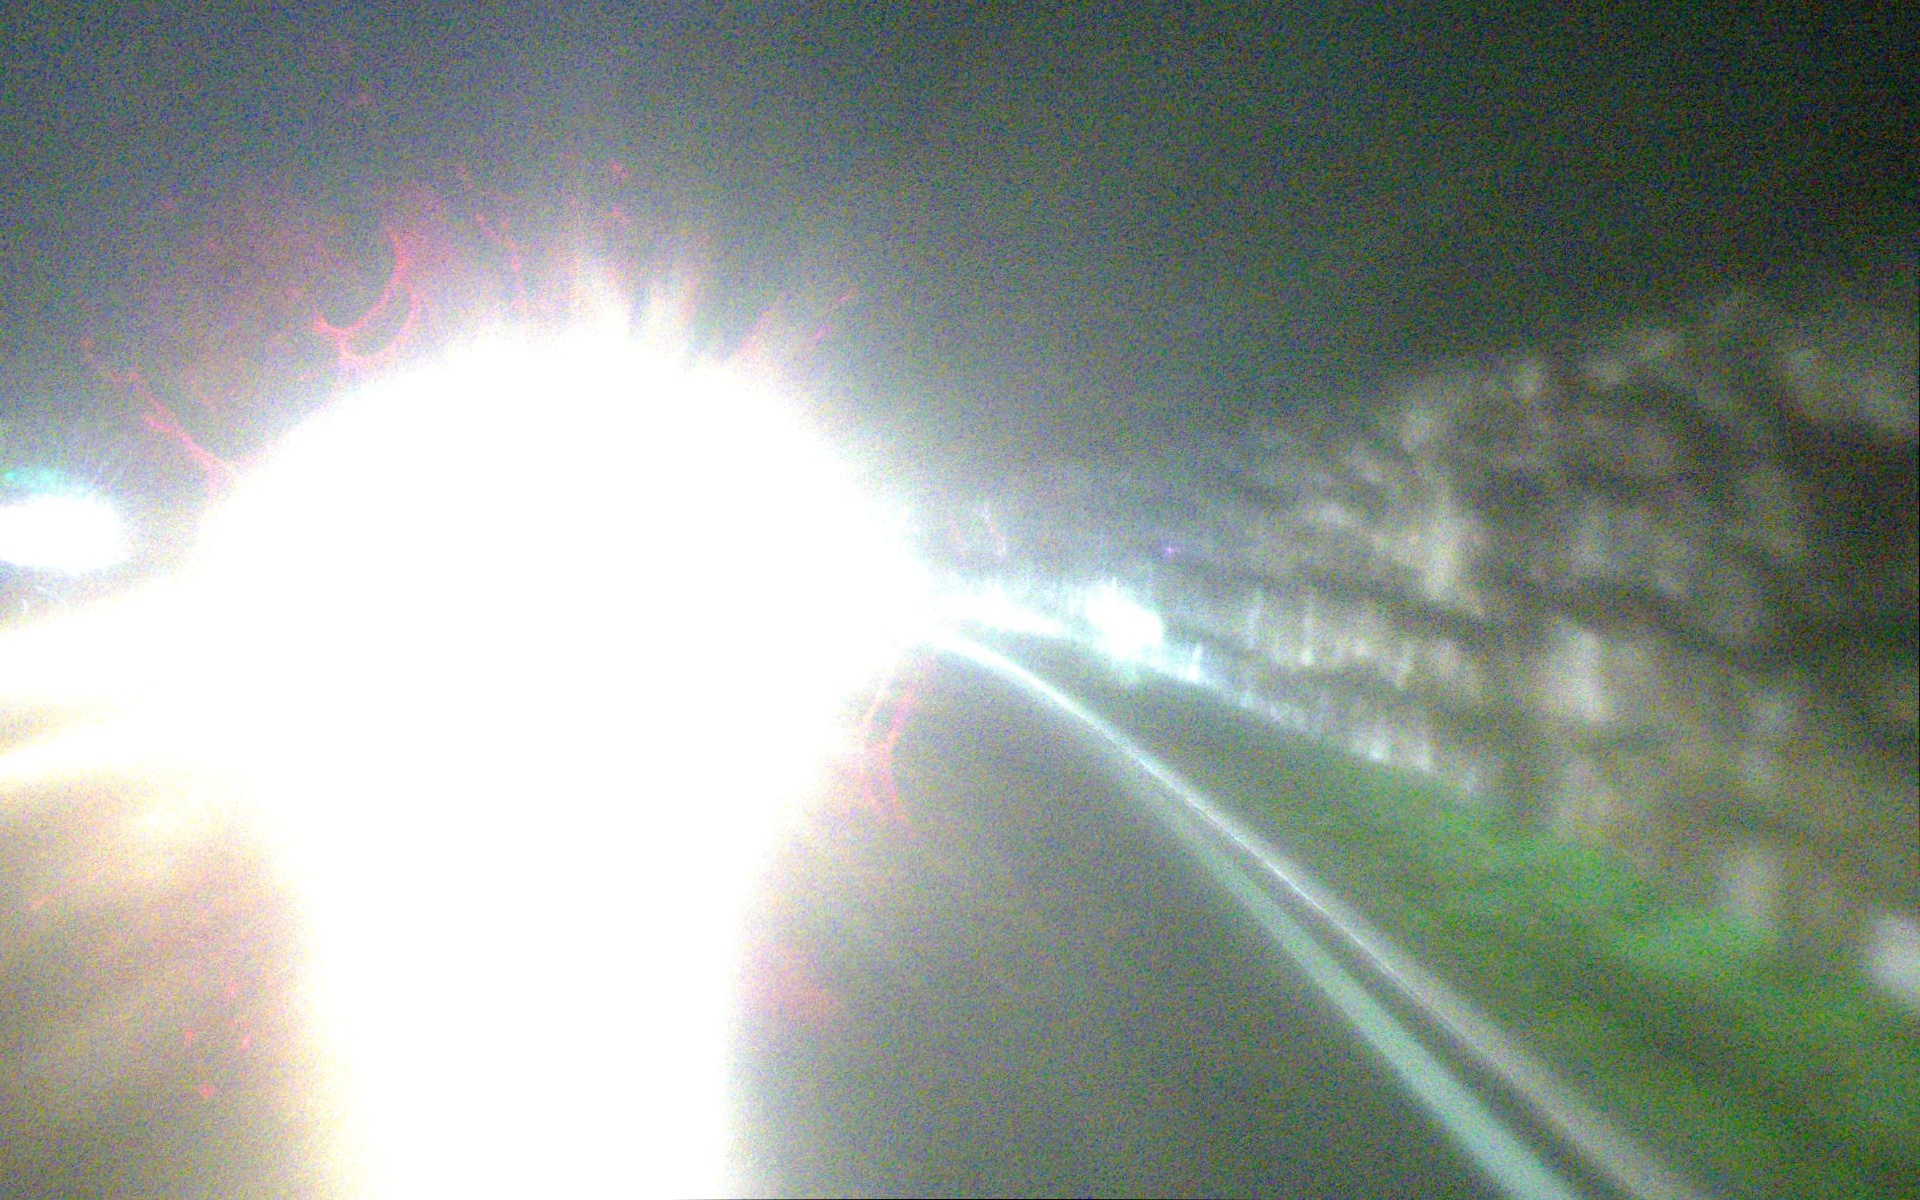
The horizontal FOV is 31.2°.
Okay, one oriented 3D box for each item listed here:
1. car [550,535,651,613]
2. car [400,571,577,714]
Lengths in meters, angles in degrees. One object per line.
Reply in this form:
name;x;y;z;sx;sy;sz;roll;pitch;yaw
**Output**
car;-6.996;-0.518;67.175;1.785;1.474;3.680;0;1;-3
car;-5.354;0.448;39.397;1.636;1.514;3.771;-1;1;-3
